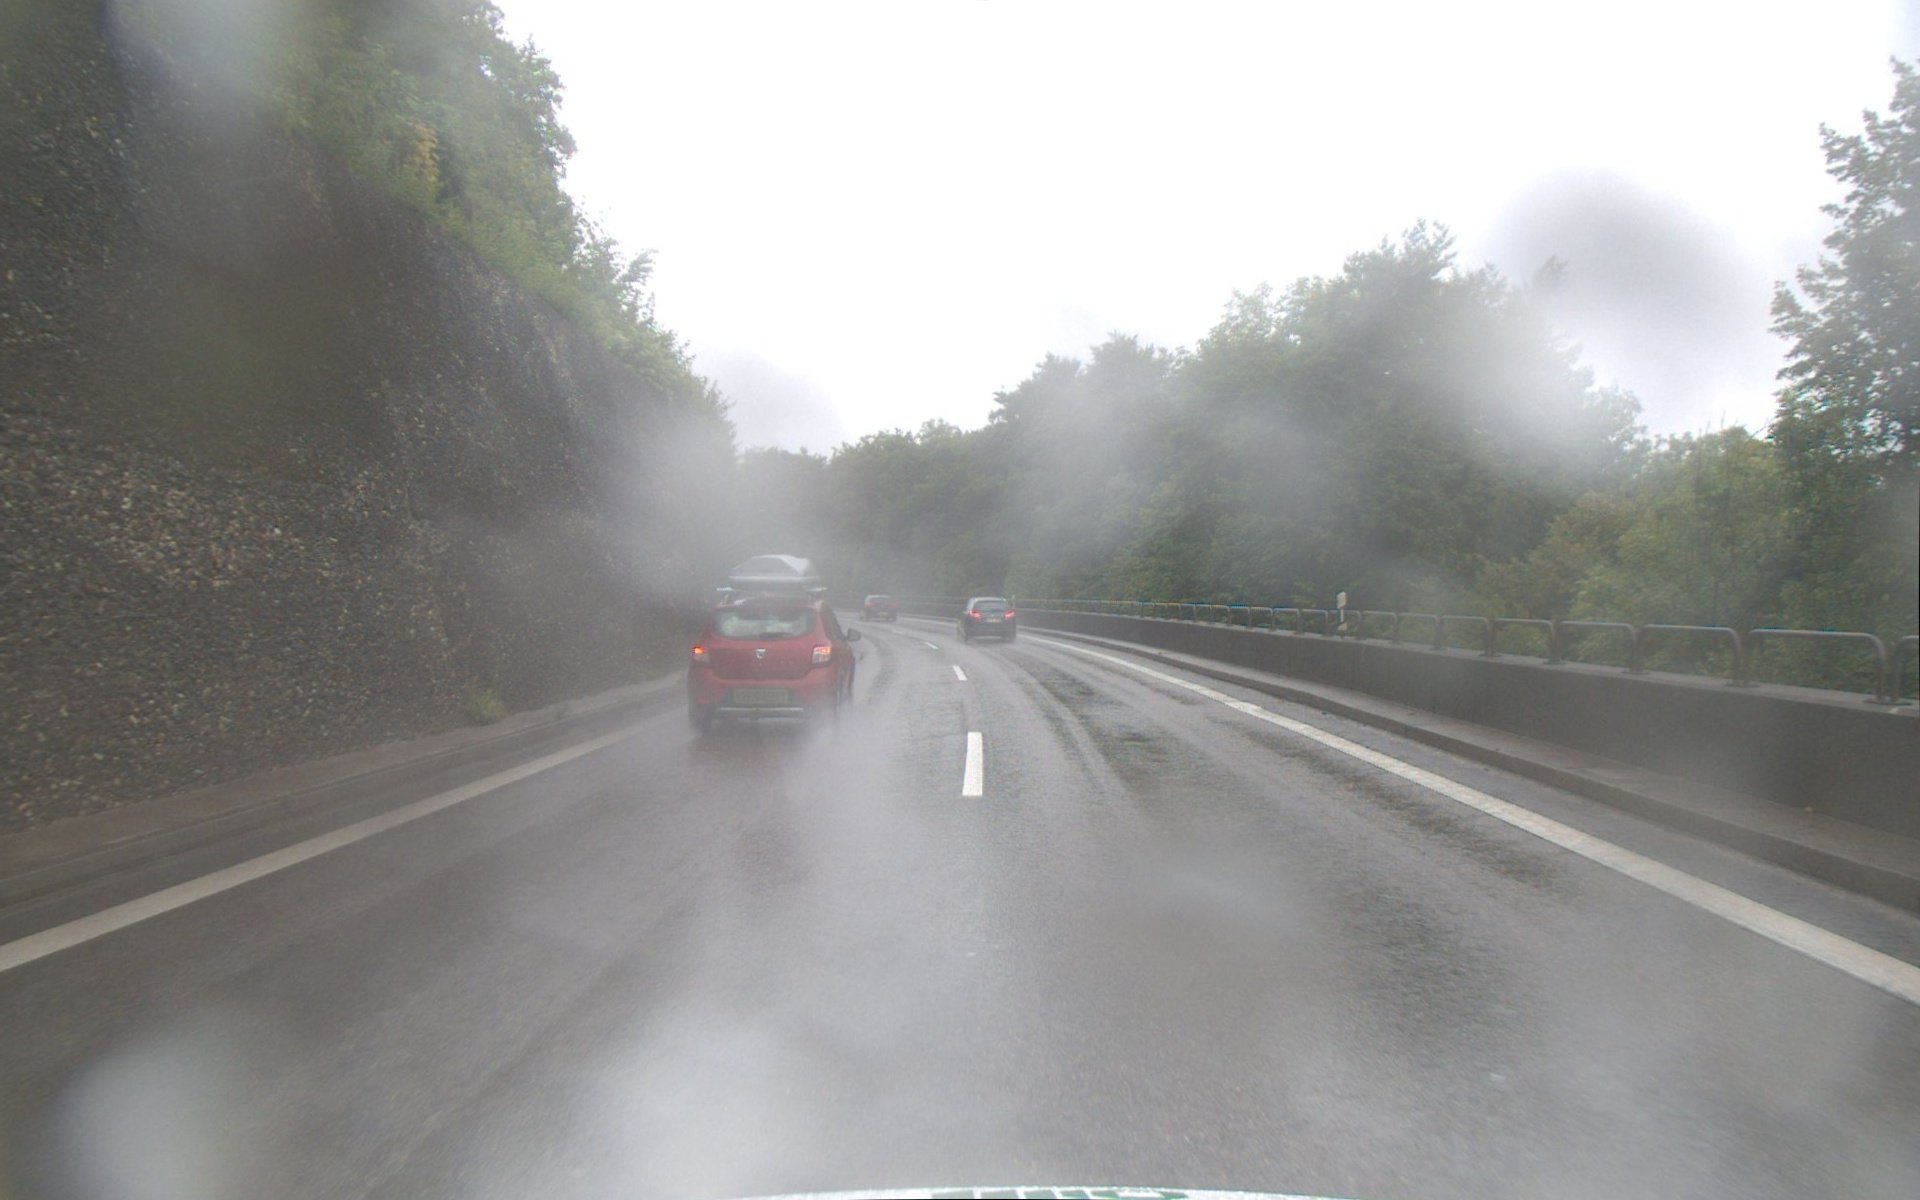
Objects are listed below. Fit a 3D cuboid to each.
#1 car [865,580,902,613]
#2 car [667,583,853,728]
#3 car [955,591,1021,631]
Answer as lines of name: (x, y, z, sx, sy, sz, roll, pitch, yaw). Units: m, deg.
car: (-4.349, -0.174, 93.393, 1.954, 1.780, 3.996, 0, -1, -4)
car: (-2.323, 0.603, 20.120, 1.954, 1.579, 3.998, 0, 0, -3)
car: (0.915, 0.356, 56.418, 1.766, 1.330, 3.994, 0, 0, -6)
